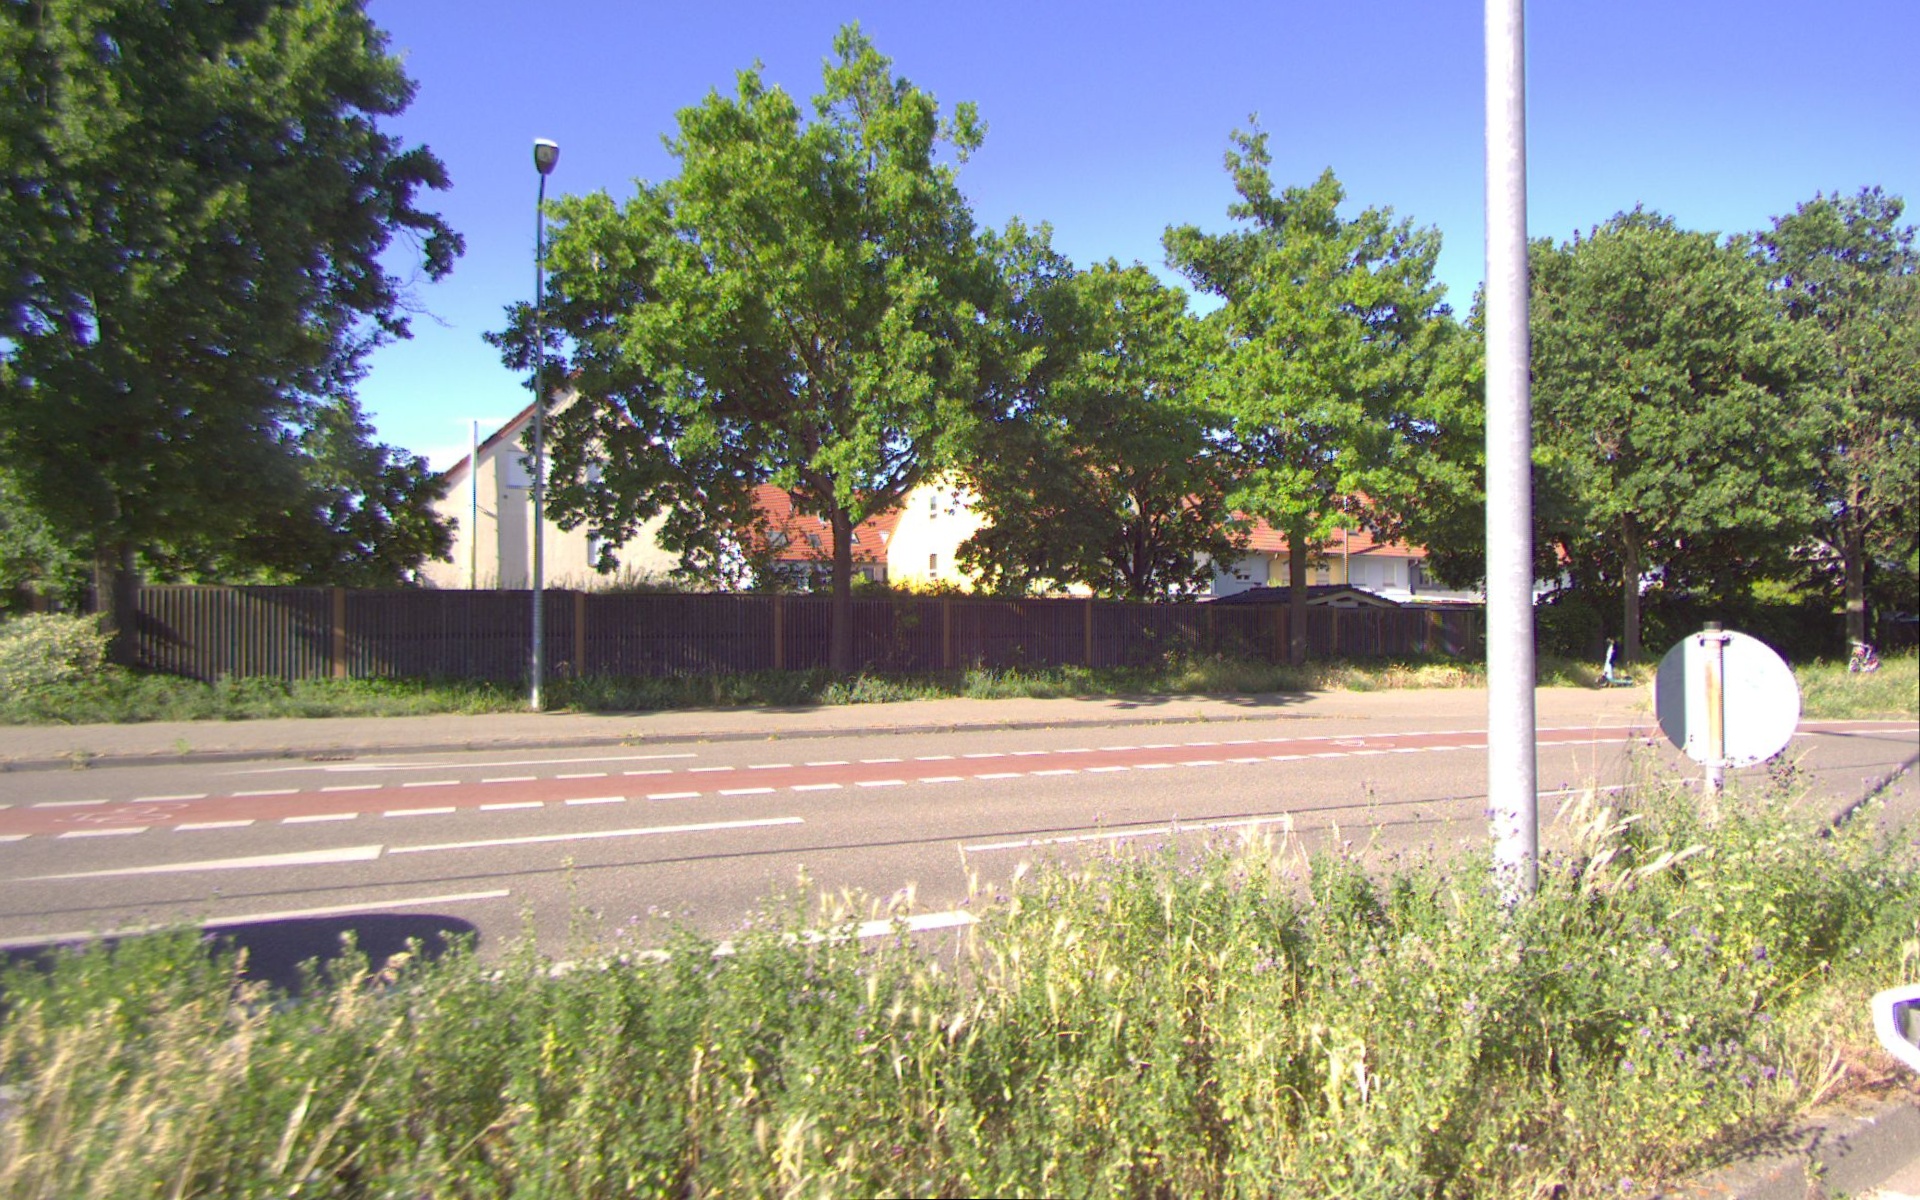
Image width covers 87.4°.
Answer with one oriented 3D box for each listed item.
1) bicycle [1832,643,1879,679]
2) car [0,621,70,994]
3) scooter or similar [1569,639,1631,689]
[{"bbox_3d":[27.210,1.846,30.517,1.857,1.067,0.503,1,-1,-29],"label":"bicycle"},{"bbox_3d":[-5.580,0.779,2.699,4.341,1.469,1.987,1,-2,-26],"label":"car"},{"bbox_3d":[16.539,1.638,25.966,1.389,1.235,0.539,0,1,-13],"label":"scooter or similar"}]
